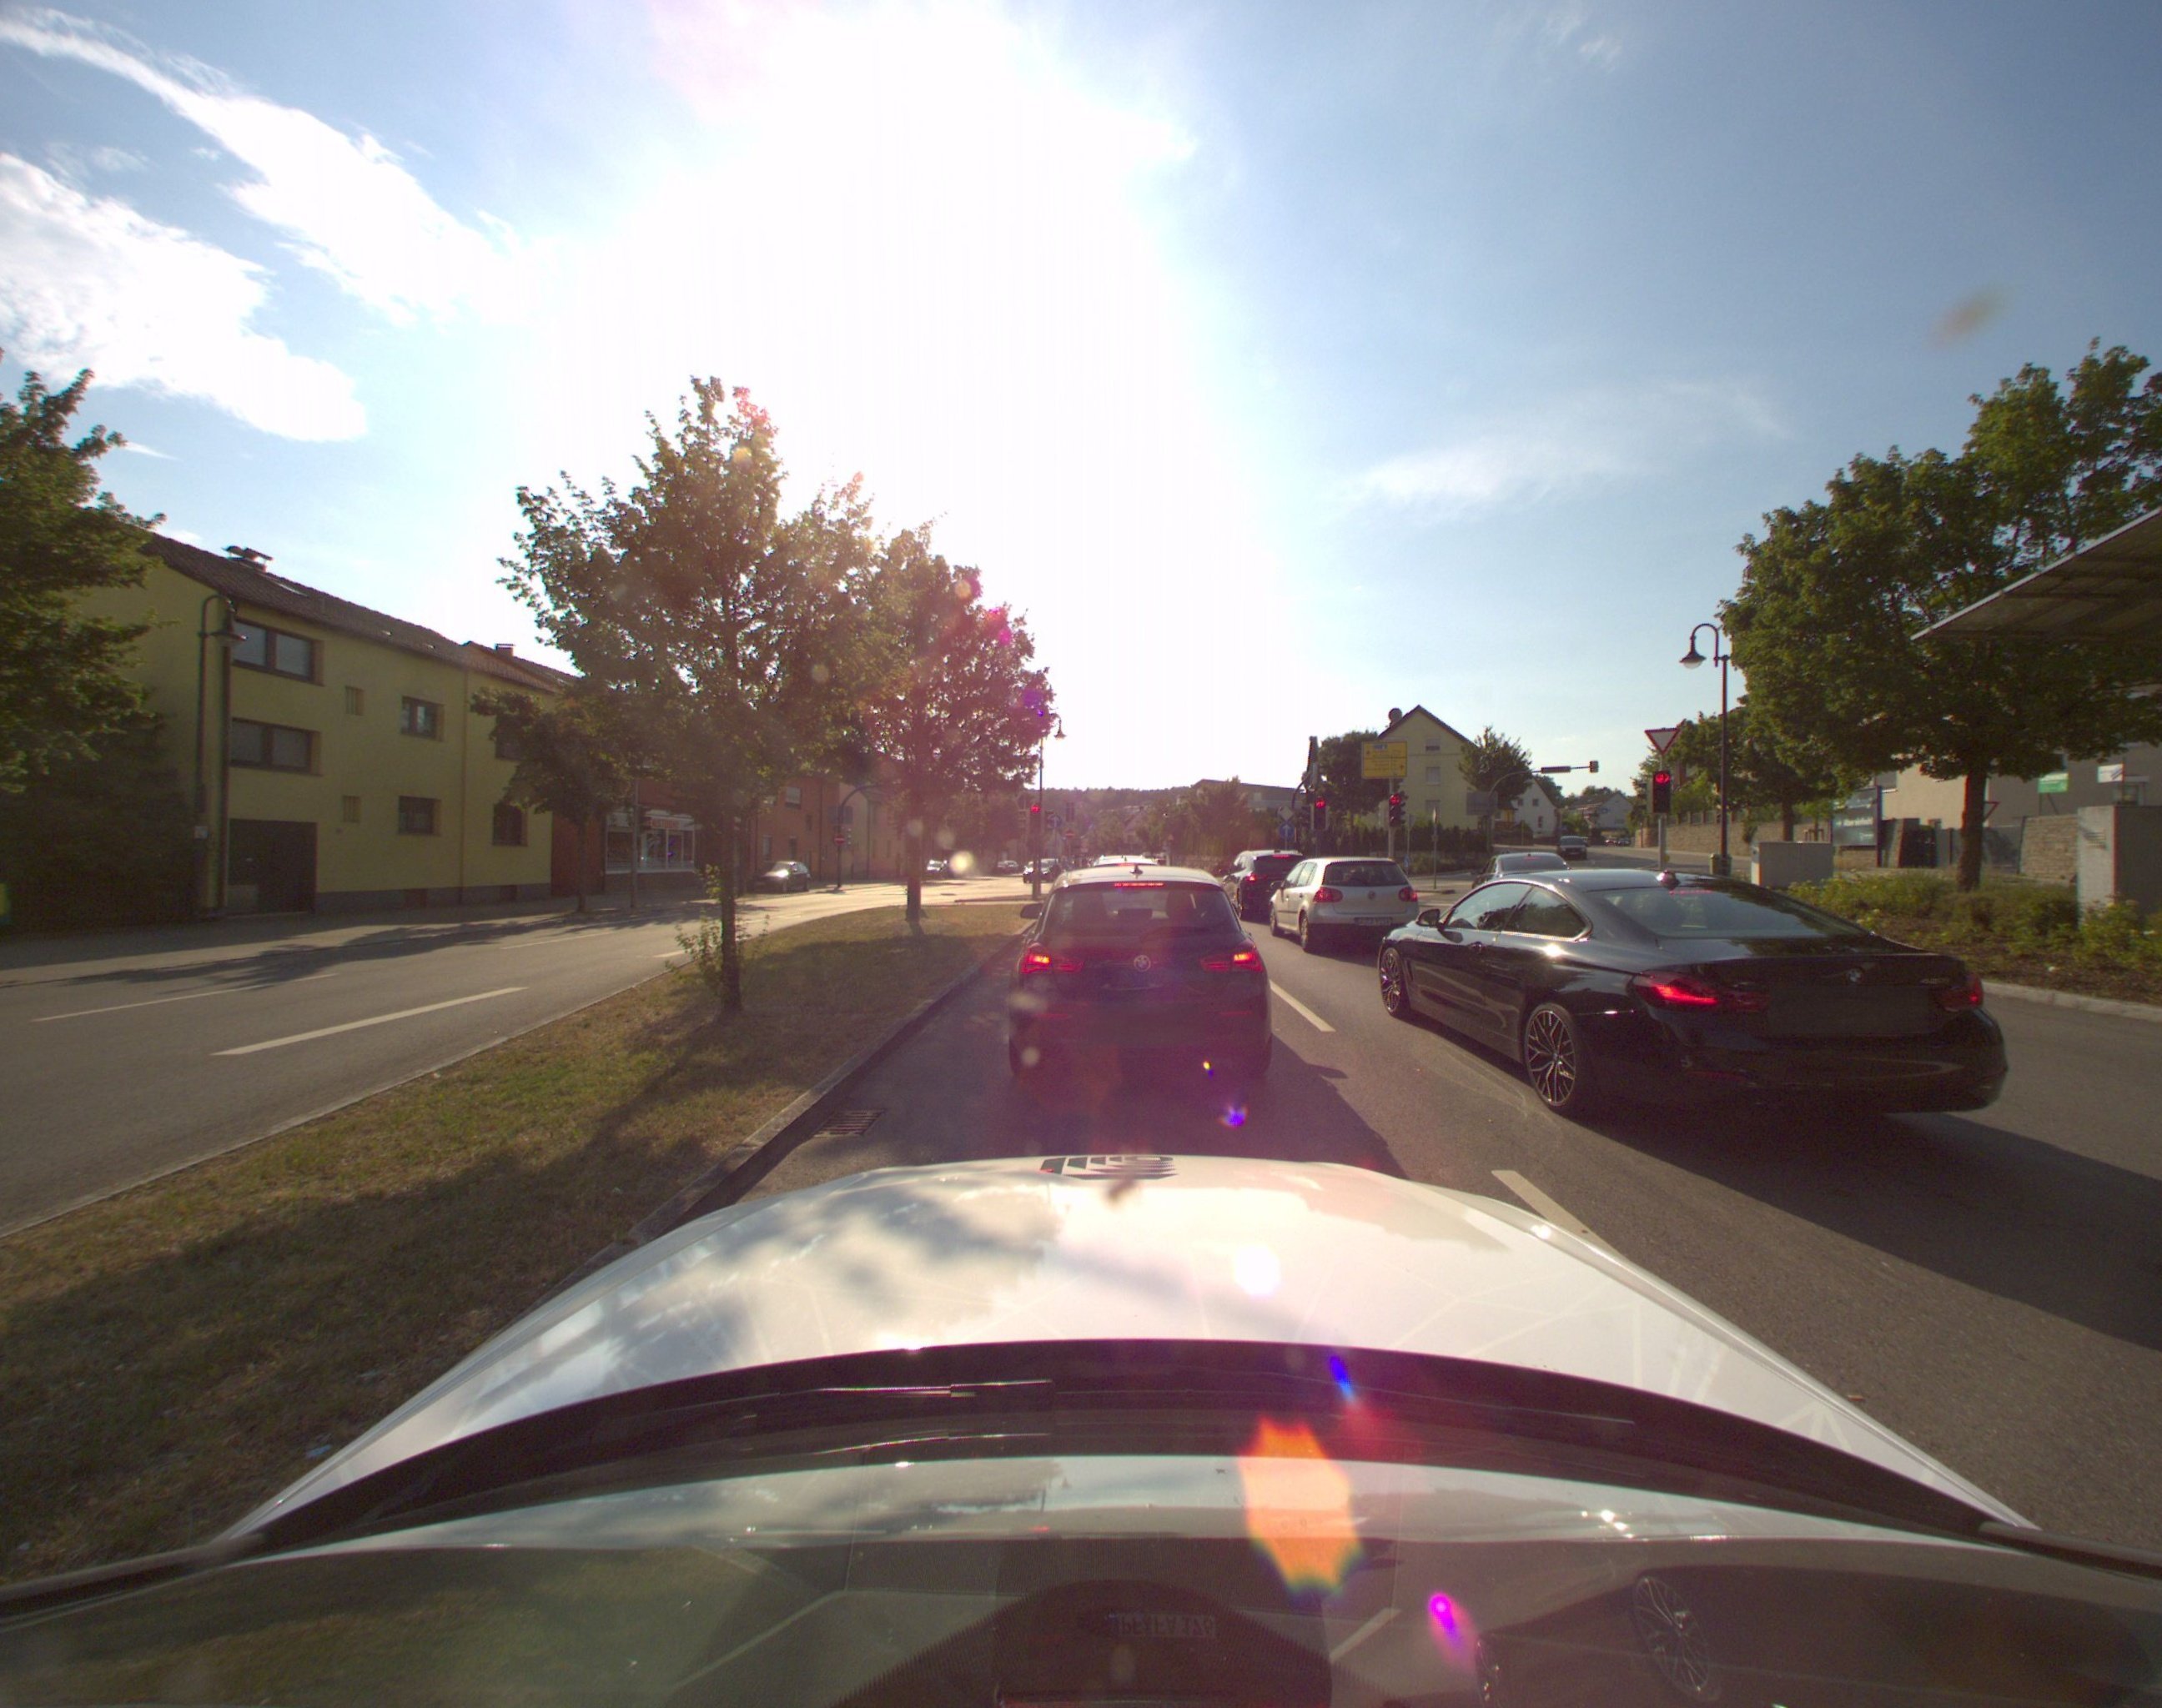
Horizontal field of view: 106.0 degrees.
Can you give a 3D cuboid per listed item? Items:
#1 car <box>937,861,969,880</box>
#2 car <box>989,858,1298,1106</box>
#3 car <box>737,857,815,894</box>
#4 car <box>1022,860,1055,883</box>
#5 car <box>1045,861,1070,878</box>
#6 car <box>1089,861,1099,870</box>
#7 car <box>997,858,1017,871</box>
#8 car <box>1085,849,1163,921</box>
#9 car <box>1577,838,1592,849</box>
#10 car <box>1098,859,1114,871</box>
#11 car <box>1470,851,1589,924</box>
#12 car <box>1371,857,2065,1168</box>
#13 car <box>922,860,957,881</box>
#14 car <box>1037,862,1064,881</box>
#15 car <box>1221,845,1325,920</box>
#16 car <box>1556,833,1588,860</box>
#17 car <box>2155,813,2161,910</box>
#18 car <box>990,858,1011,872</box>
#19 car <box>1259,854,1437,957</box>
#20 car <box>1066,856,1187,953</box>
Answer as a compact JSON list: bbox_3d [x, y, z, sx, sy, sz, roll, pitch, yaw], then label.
[{"bbox_3d":[-11.354,1.457,72.371,1.916,1.596,4.004,0,0,4],"label":"car"},{"bbox_3d":[0.489,0.763,6.919,1.783,1.414,4.351,-1,0,3],"label":"car"},{"bbox_3d":[-14.129,0.941,37.990,1.835,1.552,4.005,2,0,5],"label":"car"},{"bbox_3d":[-2.853,1.181,55.004,1.759,1.458,4.004,0,0,4],"label":"car"},{"bbox_3d":[-1.983,1.319,69.428,1.685,1.353,4.004,0,0,4],"label":"car"},{"bbox_3d":[2.531,2.227,155.551,1.917,1.596,4.002,0,0,2],"label":"car"},{"bbox_3d":[-9.317,1.359,103.213,1.916,1.596,4.004,0,0,4],"label":"car"},{"bbox_3d":[1.135,0.726,21.092,1.808,1.641,4.245,-1,0,3],"label":"car"},{"bbox_3d":[71.028,-1.471,114.837,1.694,1.244,4.027,0,4,34],"label":"car"},{"bbox_3d":[3.692,1.628,119.822,1.887,1.702,4.518,-2,0,-4],"label":"car"},{"bbox_3d":[9.922,0.657,18.346,1.667,1.435,4.613,-1,0,20],"label":"car"},{"bbox_3d":[3.663,0.734,5.891,1.808,1.388,4.351,-1,0,3],"label":"car"},{"bbox_3d":[-11.705,1.336,67.604,1.916,1.596,4.004,0,0,4],"label":"car"},{"bbox_3d":[-2.320,1.309,62.411,1.685,1.353,4.004,0,0,4],"label":"car"},{"bbox_3d":[4.637,0.636,20.294,1.808,1.666,4.351,-1,0,3],"label":"car"},{"bbox_3d":[34.157,-0.541,56.613,1.769,1.507,4.096,-3,2,32],"label":"car"},{"bbox_3d":[19.617,0.119,12.216,3.958,1.608,1.861,0,0,14],"label":"car"},{"bbox_3d":[-9.624,1.353,97.711,1.916,1.596,4.004,0,0,4],"label":"car"},{"bbox_3d":[4.273,0.739,13.784,1.808,1.446,4.351,-1,0,3],"label":"car"},{"bbox_3d":[0.815,0.764,14.399,1.808,1.451,4.245,-1,0,3],"label":"car"}]
